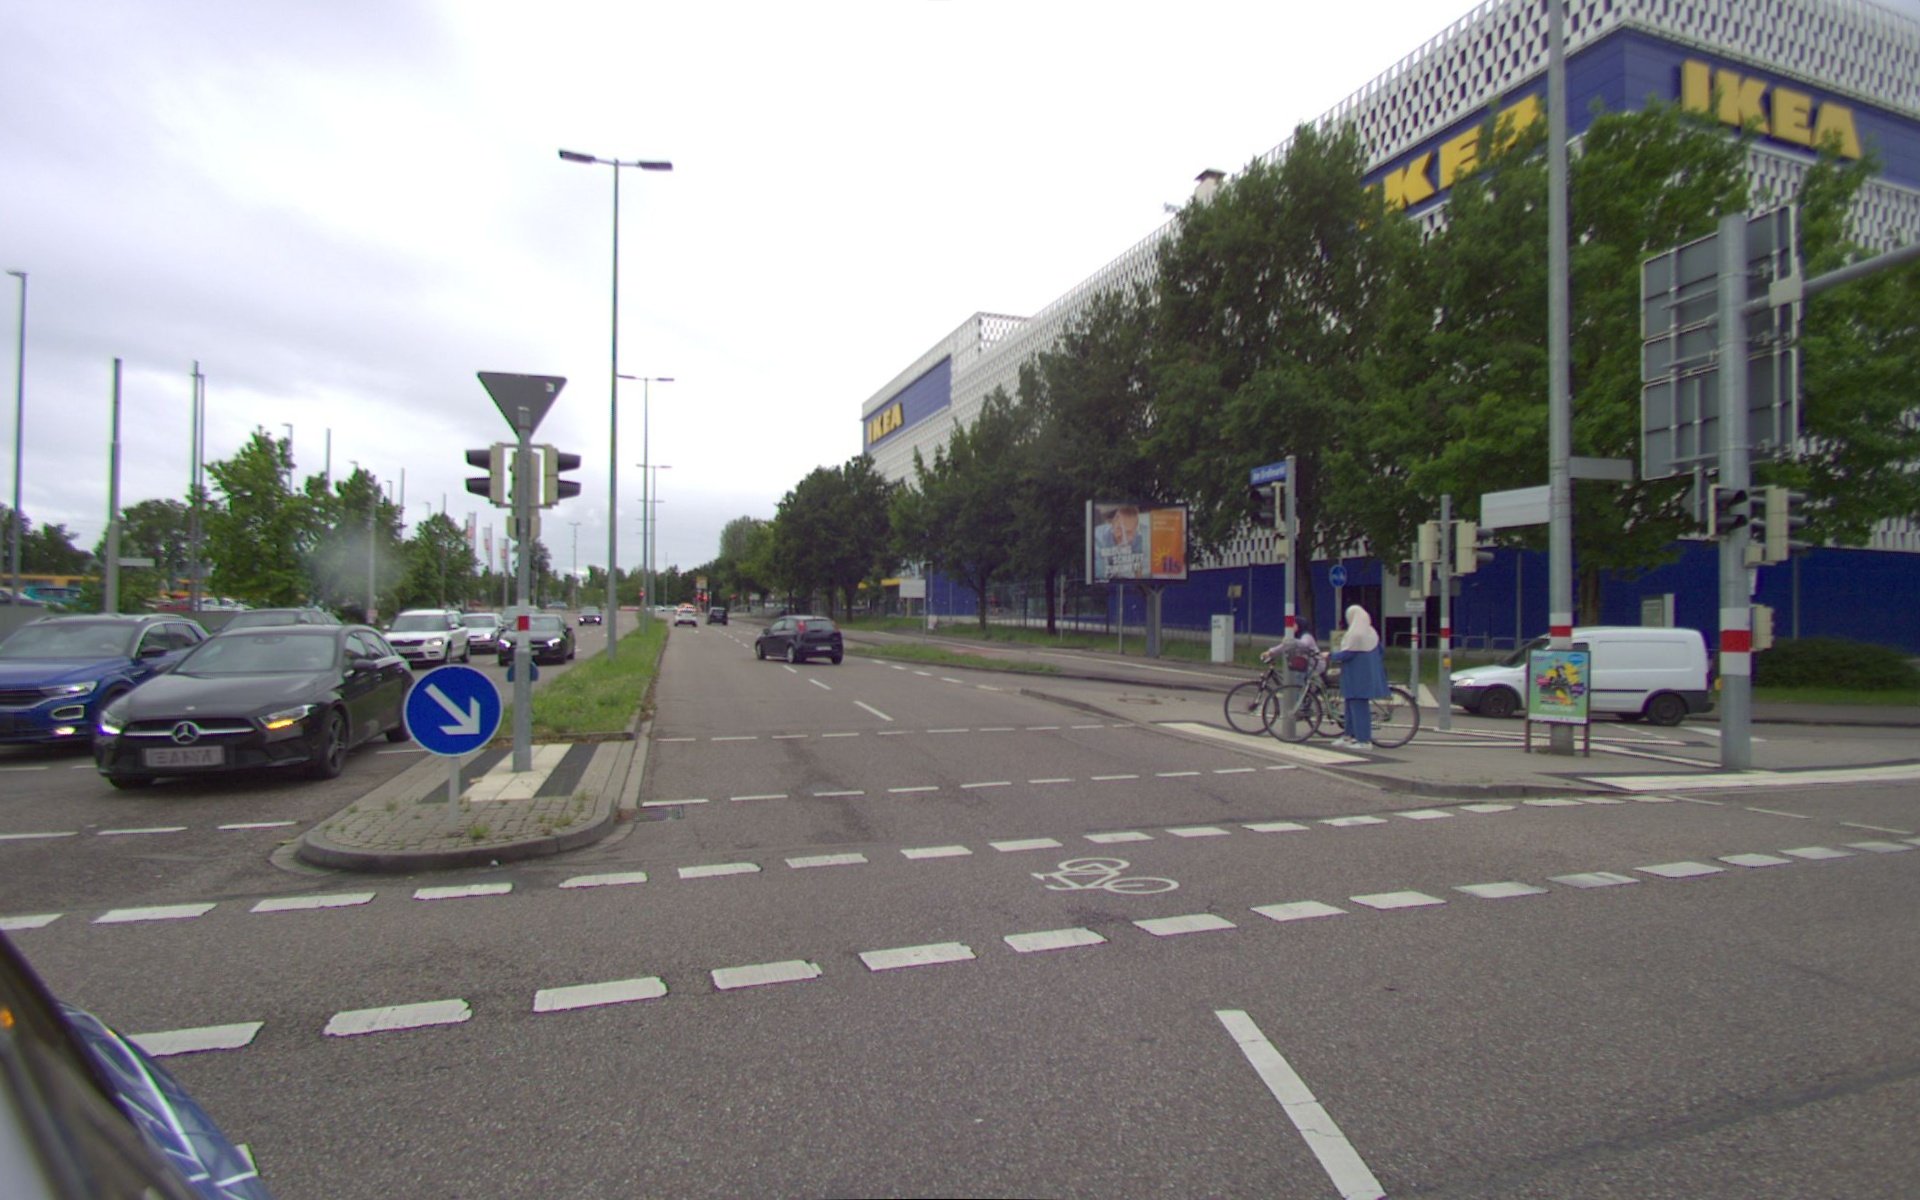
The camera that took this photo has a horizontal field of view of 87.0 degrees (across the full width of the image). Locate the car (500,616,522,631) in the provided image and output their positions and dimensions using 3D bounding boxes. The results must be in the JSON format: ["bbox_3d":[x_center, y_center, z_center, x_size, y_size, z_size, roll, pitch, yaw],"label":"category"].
[{"bbox_3d":[-46.813,2.415,105.533,1.772,1.426,4.232,-1,0,-28],"label":"car"}]

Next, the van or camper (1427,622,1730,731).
[{"bbox_3d":[11.338,1.368,18.888,4.347,1.735,1.993,2,-2,10],"label":"van or camper"}]

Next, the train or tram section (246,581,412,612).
[{"bbox_3d":[-103.076,-0.578,166.014,22.884,4.875,3.644,0,0,-19],"label":"train or tram section"}]

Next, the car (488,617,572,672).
[{"bbox_3d":[-12.475,1.240,29.603,1.738,1.389,4.271,-1,0,-16],"label":"car"}]

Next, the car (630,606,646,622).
[{"bbox_3d":[-45.265,1.954,142.194,1.965,2.236,4.012,1,-1,-19],"label":"car"}]

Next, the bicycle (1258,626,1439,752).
[{"bbox_3d":[4.602,1.040,12.080,1.911,1.407,0.595,1,-3,8],"label":"bicycle"}]

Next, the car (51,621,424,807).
[{"bbox_3d":[-7.016,0.970,10.411,1.829,1.445,4.208,-1,-1,-16],"label":"car"}]

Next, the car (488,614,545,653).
[{"bbox_3d":[-19.910,1.468,45.561,1.772,1.586,4.231,-1,0,-16],"label":"car"}]

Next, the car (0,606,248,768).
[{"bbox_3d":[-10.654,0.910,12.369,1.817,1.634,4.344,-1,0,-15],"label":"car"}]

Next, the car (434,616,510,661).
[{"bbox_3d":[-17.609,1.356,36.694,1.772,1.426,4.231,-1,0,-16],"label":"car"}]

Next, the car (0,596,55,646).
[{"bbox_3d":[-40.308,0.891,41.738,3.931,2.029,2.006,-1,0,-18],"label":"car"}]

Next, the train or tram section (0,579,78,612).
[{"bbox_3d":[-146.375,-0.619,150.746,22.884,4.875,3.644,0,0,-19],"label":"train or tram section"}]

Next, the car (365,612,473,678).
[{"bbox_3d":[-15.191,1.191,28.649,1.769,1.637,4.387,-1,0,-15],"label":"car"}]

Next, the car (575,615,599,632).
[{"bbox_3d":[-34.377,2.118,93.254,1.772,1.426,4.231,-1,0,-16],"label":"car"}]

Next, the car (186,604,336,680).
[{"bbox_3d":[-16.732,0.925,24.471,1.769,1.637,4.388,-1,0,-18],"label":"car"}]

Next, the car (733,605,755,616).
[{"bbox_3d":[-41.758,1.977,195.852,3.931,2.029,2.006,-1,0,-18],"label":"car"}]

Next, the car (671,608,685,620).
[{"bbox_3d":[-41.986,2.030,150.437,1.817,1.732,3.937,-1,0,-18],"label":"car"}]

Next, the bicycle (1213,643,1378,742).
[{"bbox_3d":[4.296,1.177,13.057,1.923,1.174,0.507,1,1,6],"label":"bicycle"}]

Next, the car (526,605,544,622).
[{"bbox_3d":[-57.840,1.844,137.744,1.965,2.259,4.012,1,-1,-19],"label":"car"}]

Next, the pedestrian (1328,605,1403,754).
[{"bbox_3d":[4.659,0.897,11.657,0.685,1.639,0.638,1,-2,13],"label":"pedestrian"}]

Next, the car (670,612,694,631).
[{"bbox_3d":[-22.522,1.765,82.028,1.757,1.463,3.944,2,-1,-15],"label":"car"}]

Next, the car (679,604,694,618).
[{"bbox_3d":[-38.129,1.512,141.033,1.817,1.900,3.937,-1,0,-18],"label":"car"}]

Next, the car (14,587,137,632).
[{"bbox_3d":[-42.260,0.450,48.467,3.931,2.029,2.006,-1,0,-18],"label":"car"}]

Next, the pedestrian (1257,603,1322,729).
[{"bbox_3d":[4.241,0.827,13.047,0.642,1.560,0.652,1,1,7],"label":"pedestrian"}]

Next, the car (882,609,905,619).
[{"bbox_3d":[-12.623,2.593,191.947,3.931,1.829,2.007,-1,0,-24],"label":"car"}]

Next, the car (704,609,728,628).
[{"bbox_3d":[-23.461,1.758,97.095,1.816,1.668,4.375,3,-1,-19],"label":"car"}]

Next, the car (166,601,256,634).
[{"bbox_3d":[-48.499,1.091,65.614,4.252,2.029,2.006,-1,0,-18],"label":"car"}]

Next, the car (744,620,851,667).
[{"bbox_3d":[-5.162,1.355,31.758,1.698,1.382,4.010,2,-3,-35],"label":"car"}]

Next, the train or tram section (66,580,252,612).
[{"bbox_3d":[-124.829,-0.614,158.399,22.884,4.875,3.644,0,0,-19],"label":"train or tram section"}]

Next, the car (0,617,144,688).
[{"bbox_3d":[-20.136,1.119,22.605,1.666,1.382,3.939,-1,0,-18],"label":"car"}]

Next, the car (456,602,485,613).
[{"bbox_3d":[-89.883,1.349,185.849,4.590,2.029,2.007,-1,0,-26],"label":"car"}]

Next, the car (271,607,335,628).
[{"bbox_3d":[-52.937,1.383,81.595,3.932,1.577,1.802,-1,0,-16],"label":"car"}]
